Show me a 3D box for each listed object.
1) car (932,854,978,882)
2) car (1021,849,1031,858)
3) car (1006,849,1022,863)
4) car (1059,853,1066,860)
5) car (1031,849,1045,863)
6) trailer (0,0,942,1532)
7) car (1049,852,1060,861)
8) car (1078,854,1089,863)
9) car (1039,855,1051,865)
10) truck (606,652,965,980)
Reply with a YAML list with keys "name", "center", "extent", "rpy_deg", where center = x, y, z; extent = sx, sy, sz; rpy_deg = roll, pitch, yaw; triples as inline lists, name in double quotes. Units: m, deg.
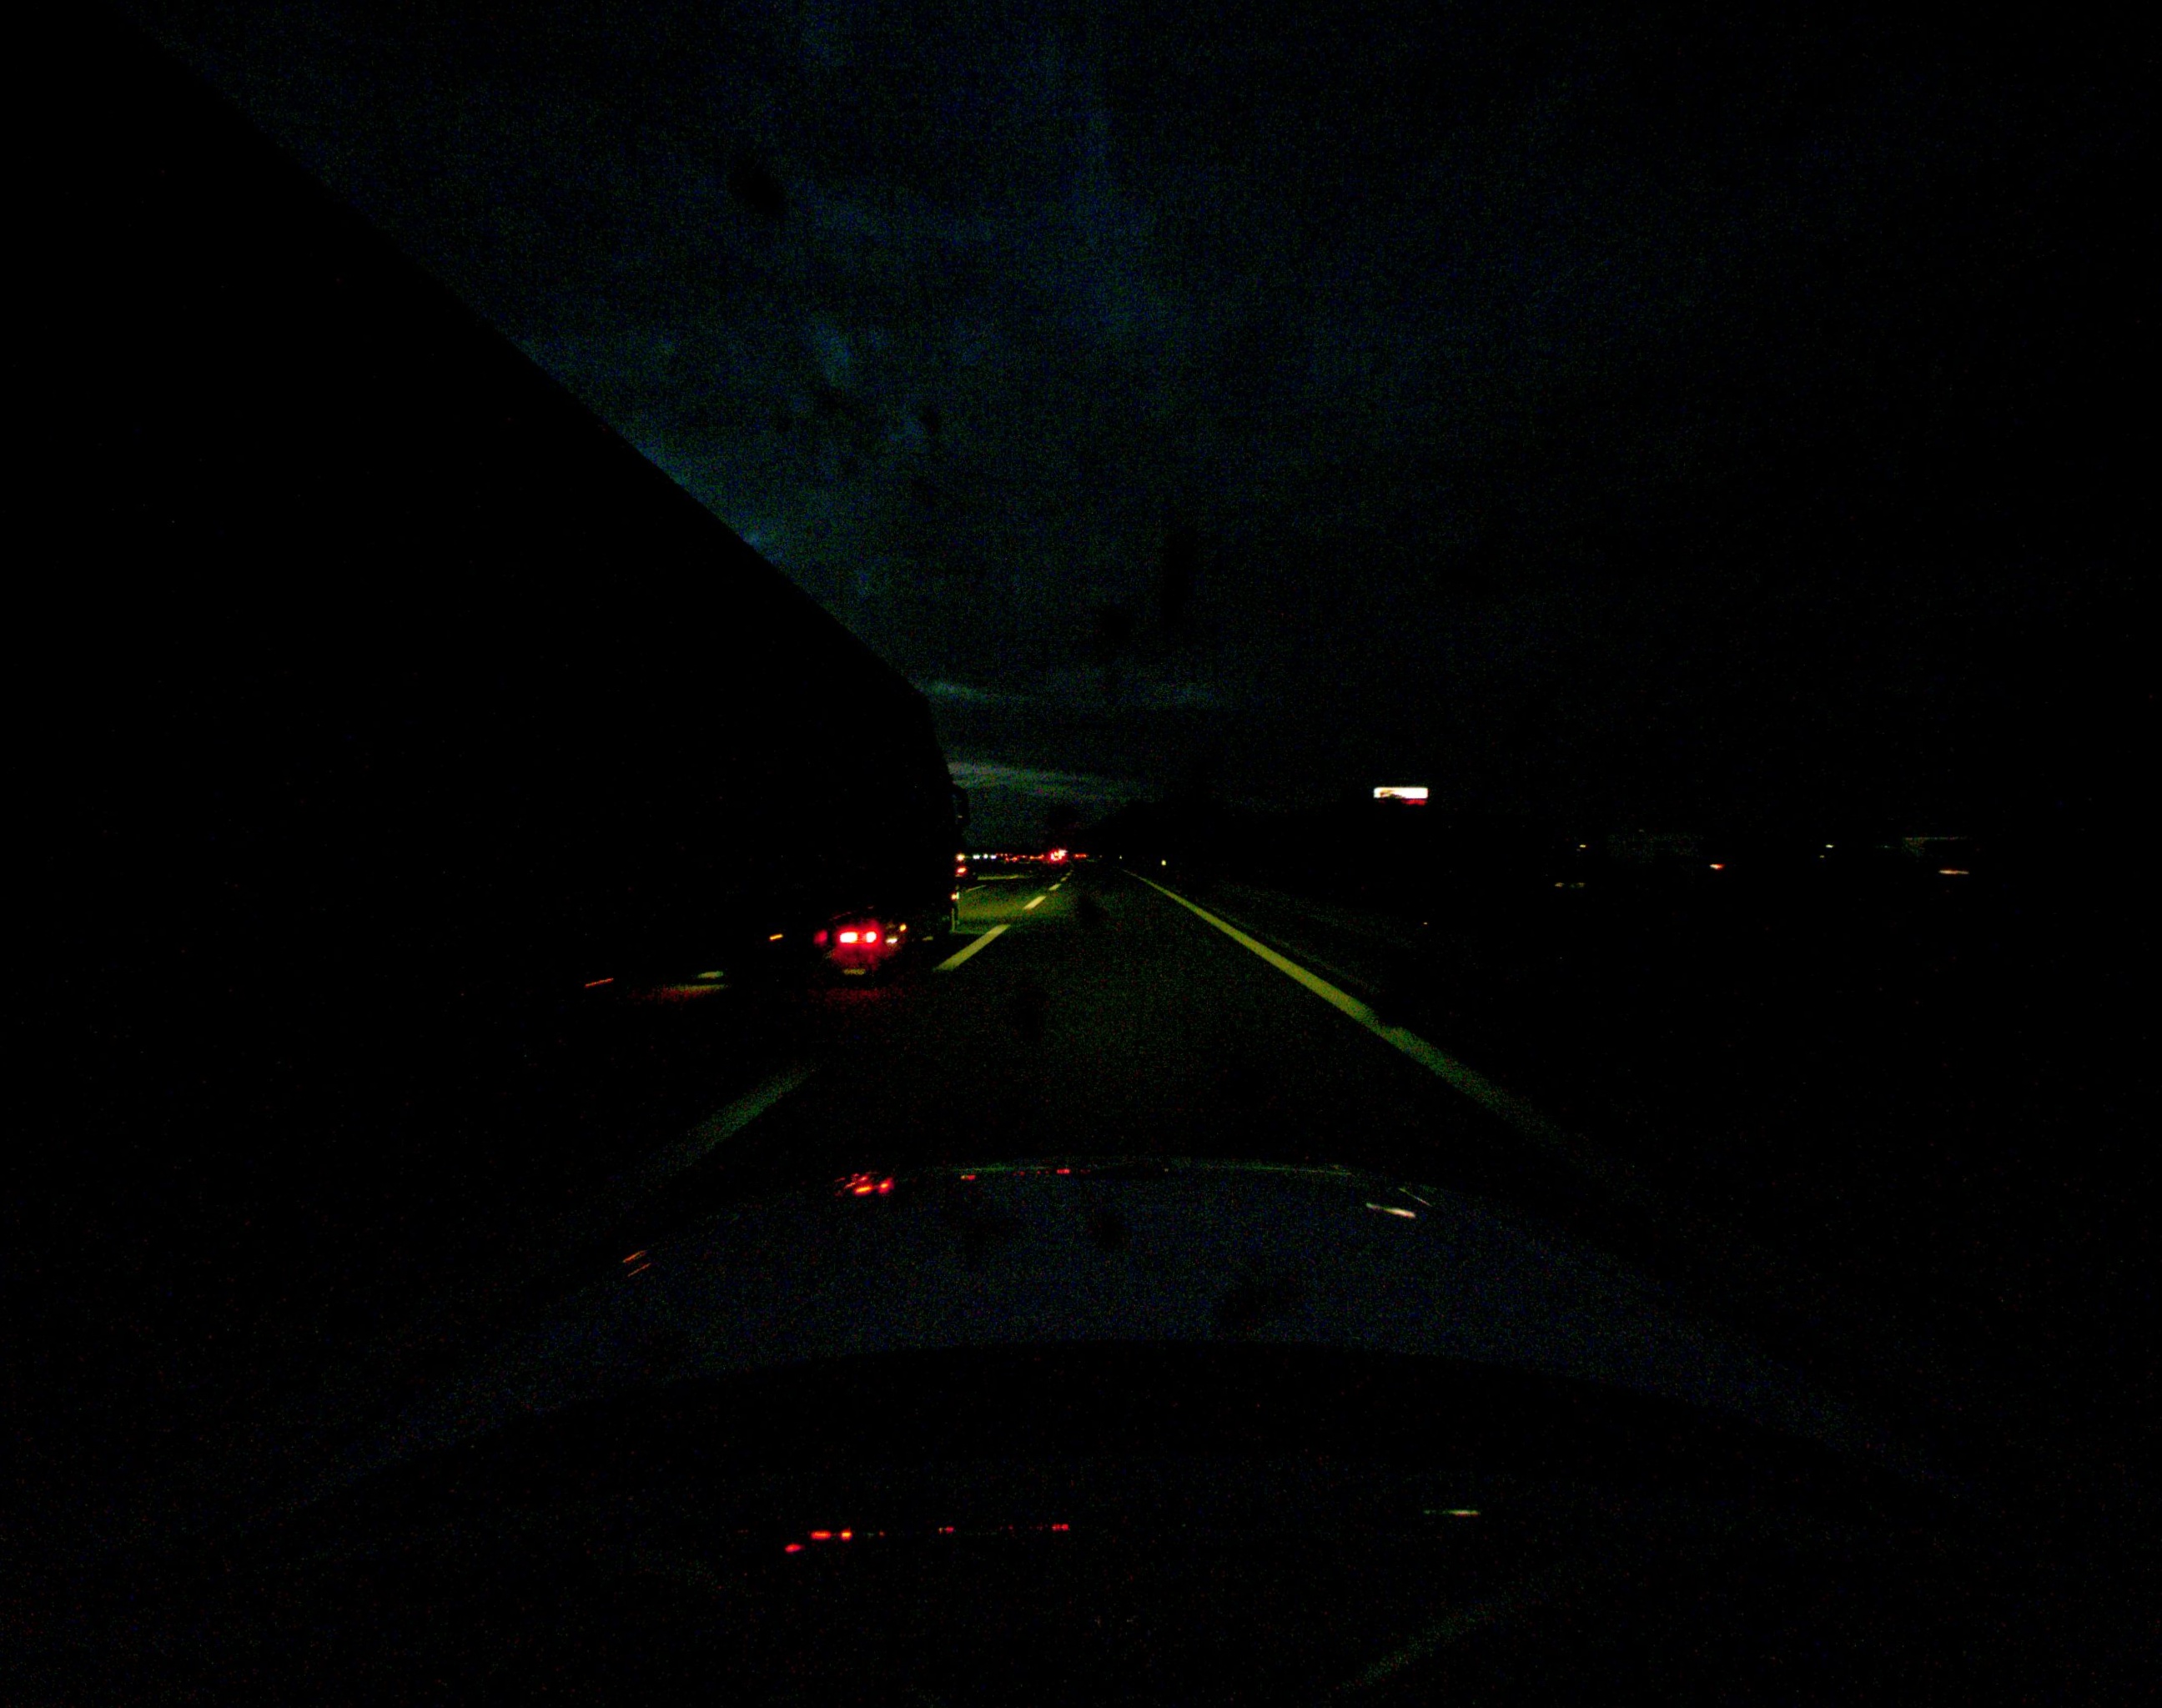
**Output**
- name: "car"
  center: [-7.036, 0.782, 45.988]
  extent: [1.892, 1.494, 4.151]
  rpy_deg: [0, -1, 1]
- name: "car"
  center: [-13.340, -0.211, 197.303]
  extent: [1.986, 2.014, 4.000]
  rpy_deg: [0, -3, 2]
- name: "car"
  center: [-10.638, 0.334, 129.563]
  extent: [1.987, 2.047, 3.999]
  rpy_deg: [0, -3, 1]
- name: "car"
  center: [-5.487, 0.688, 246.826]
  extent: [1.987, 2.014, 3.999]
  rpy_deg: [0, -3, 1]
- name: "car"
  center: [-6.798, 0.305, 129.304]
  extent: [1.987, 2.080, 3.999]
  rpy_deg: [0, -3, 1]
- name: "trailer"
  center: [-4.255, -0.470, 6.375]
  extent: [3.538, 4.116, 15.063]
  rpy_deg: [-1, 0, 1]
- name: "car"
  center: [-4.828, 0.462, 148.366]
  extent: [1.878, 1.354, 3.999]
  rpy_deg: [0, -3, 1]
- name: "car"
  center: [0.448, 0.765, 139.813]
  extent: [1.987, 1.354, 3.999]
  rpy_deg: [0, -3, 1]
- name: "car"
  center: [-7.379, 1.244, 168.407]
  extent: [1.985, 2.014, 4.003]
  rpy_deg: [0, -3, 4]
- name: "truck"
  center: [-4.171, -0.481, 13.362]
  extent: [3.539, 4.091, 6.151]
  rpy_deg: [-1, 0, 0]
